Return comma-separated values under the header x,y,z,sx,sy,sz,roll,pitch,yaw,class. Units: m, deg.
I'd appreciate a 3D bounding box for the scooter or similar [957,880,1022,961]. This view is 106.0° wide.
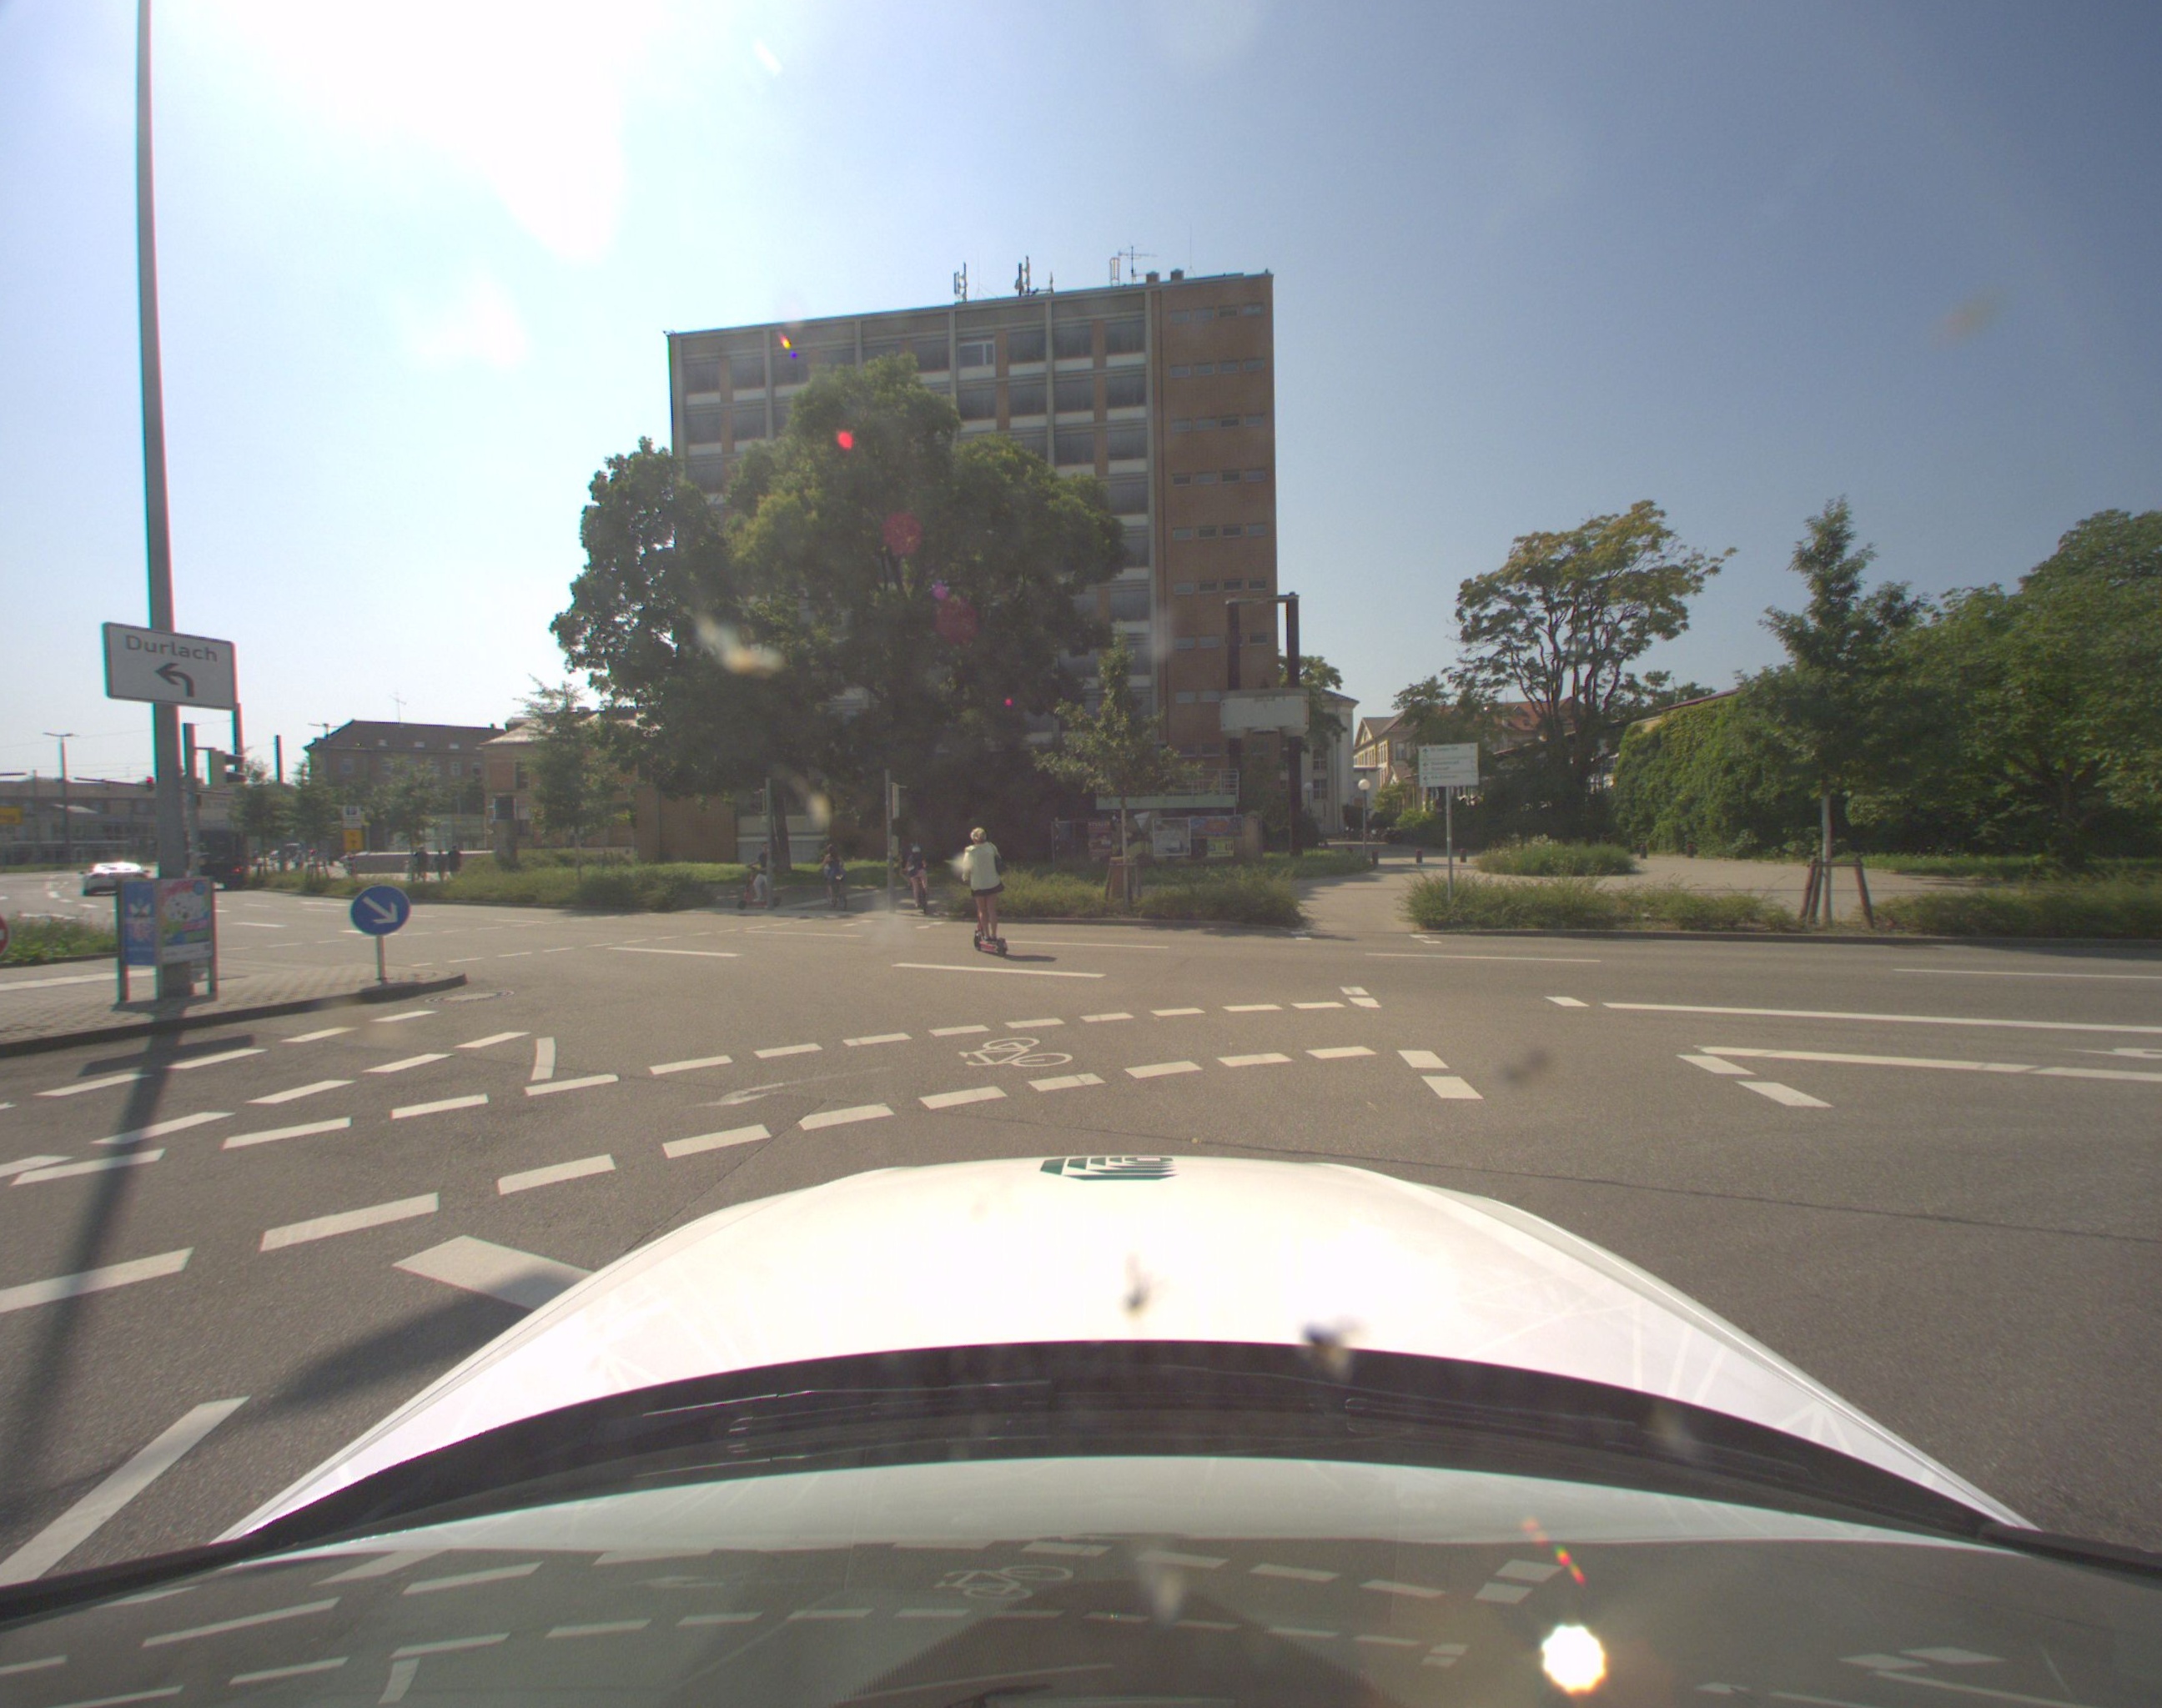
x,y,z,sx,sy,sz,roll,pitch,yaw,class
-1.410,0.948,12.285,0.558,1.060,1.991,-1,0,-18,scooter or similar

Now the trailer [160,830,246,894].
x,y,z,sx,sy,sz,roll,pitch,yaw,class
-44.776,0.390,41.499,6.244,3.007,2.486,0,0,38,trailer

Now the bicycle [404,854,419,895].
x,y,z,sx,sy,sz,roll,pitch,yaw,class
-31.381,0.936,38.184,0.459,1.860,1.347,-2,2,-41,bicycle

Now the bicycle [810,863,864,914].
x,y,z,sx,sy,sz,roll,pitch,yaw,class
-6.429,0.860,21.397,0.698,1.154,2.347,-4,3,-32,bicycle

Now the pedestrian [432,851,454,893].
x,y,z,sx,sy,sz,roll,pitch,yaw,class
-30.612,0.867,39.073,0.784,1.972,0.745,-2,1,-38,pedestrian

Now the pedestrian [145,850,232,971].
x,y,z,sx,sy,sz,roll,pitch,yaw,class
-13.204,0.808,12.070,0.703,1.694,0.601,-2,2,-37,pedestrian

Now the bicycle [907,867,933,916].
x,y,z,sx,sy,sz,roll,pitch,yaw,class
-3.946,0.879,19.848,0.557,1.060,1.995,-2,1,-13,bicycle

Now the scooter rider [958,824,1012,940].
x,y,z,sx,sy,sz,roll,pitch,yaw,class
-1.463,0.414,12.394,0.672,1.699,0.536,-2,0,-19,scooter rider

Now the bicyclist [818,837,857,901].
x,y,z,sx,sy,sz,roll,pitch,yaw,class
-6.337,0.375,21.189,0.695,1.598,0.835,-4,4,-33,bicyclist

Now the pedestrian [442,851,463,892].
x,y,z,sx,sy,sz,roll,pitch,yaw,class
-30.865,0.860,39.993,0.784,1.972,0.745,-2,1,-38,pedestrian

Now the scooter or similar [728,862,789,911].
x,y,z,sx,sy,sz,roll,pitch,yaw,class
-8.767,0.864,22.171,1.375,1.234,0.578,-3,2,-41,scooter or similar

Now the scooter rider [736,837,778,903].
x,y,z,sx,sy,sz,roll,pitch,yaw,class
-8.777,0.417,22.083,0.809,1.739,0.680,-3,2,-41,scooter rider

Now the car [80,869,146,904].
x,y,z,sx,sy,sz,roll,pitch,yaw,class
-44.598,1.447,37.498,4.368,1.455,1.775,0,1,38,car

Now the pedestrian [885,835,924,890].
x,y,z,sx,sy,sz,roll,pitch,yaw,class
-5.582,0.264,25.745,0.868,1.704,0.712,-1,3,26,pedestrian

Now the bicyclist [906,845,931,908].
x,y,z,sx,sy,sz,roll,pitch,yaw,class
-3.945,0.530,19.783,0.549,1.496,0.800,-2,1,-13,bicyclist
